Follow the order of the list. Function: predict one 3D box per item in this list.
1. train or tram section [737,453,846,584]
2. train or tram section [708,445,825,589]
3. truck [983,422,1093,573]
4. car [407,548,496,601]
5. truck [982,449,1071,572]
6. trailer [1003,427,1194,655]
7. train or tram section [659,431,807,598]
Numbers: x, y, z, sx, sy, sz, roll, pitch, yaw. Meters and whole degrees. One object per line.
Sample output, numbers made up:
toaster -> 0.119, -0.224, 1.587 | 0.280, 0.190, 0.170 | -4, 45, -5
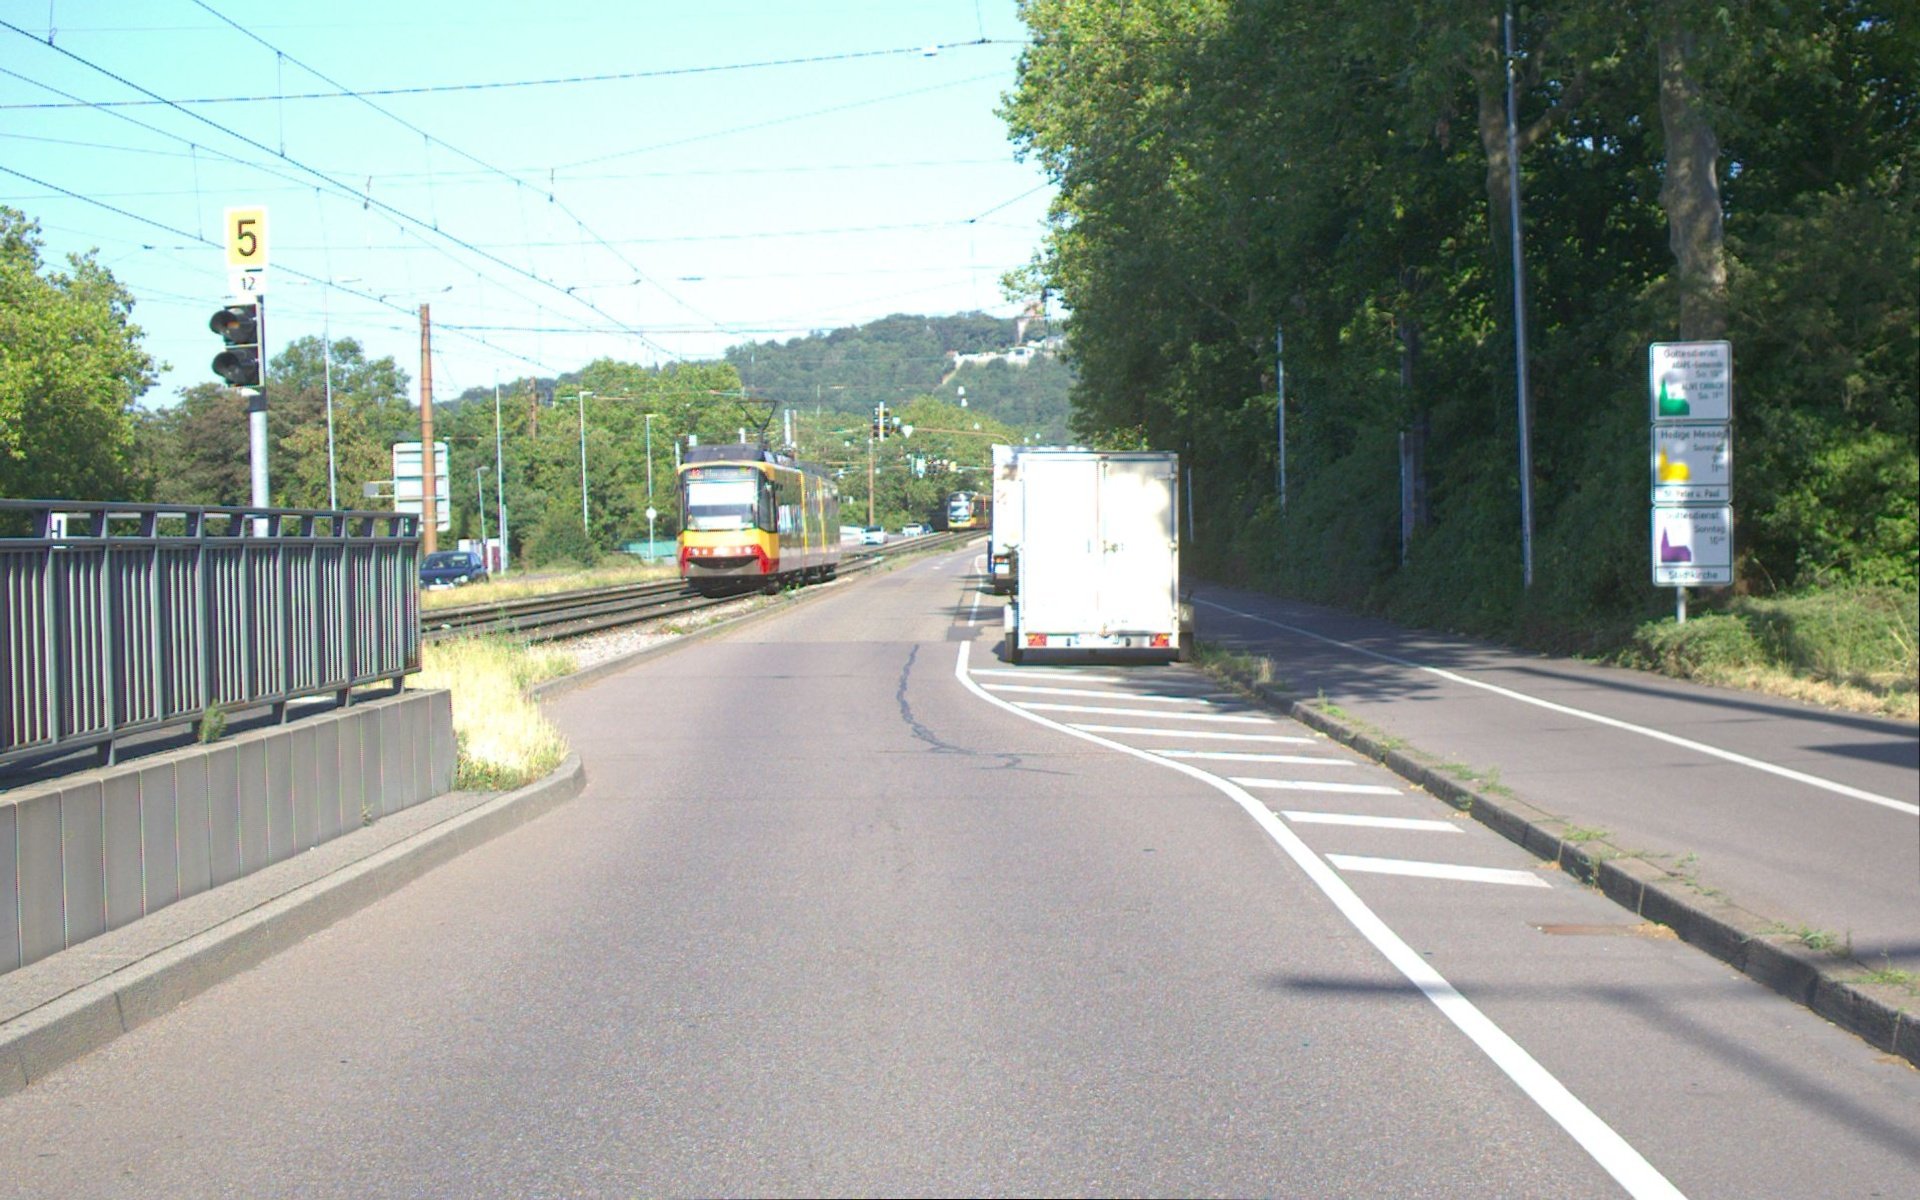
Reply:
train or tram section -> -5.588, -2.742, 115.917 | 2.719, 4.075, 12.813 | -2, 1, 1
train or tram section -> -5.804, -2.506, 104.541 | 2.694, 4.075, 9.911 | -2, 1, 1
truck -> 1.995, -2.694, 91.927 | 2.742, 3.770, 10.090 | 1, 1, 0
car -> -14.781, -0.755, 100.116 | 1.773, 1.420, 4.489 | -1, 1, 2
truck -> 2.078, -2.867, 111.143 | 2.717, 3.770, 9.762 | 1, 1, 0
trailer -> 1.838, -0.759, 43.852 | 2.251, 2.685, 5.946 | 0, 1, 4
train or tram section -> -5.993, -2.283, 92.807 | 2.721, 4.077, 13.615 | -2, 1, 1
